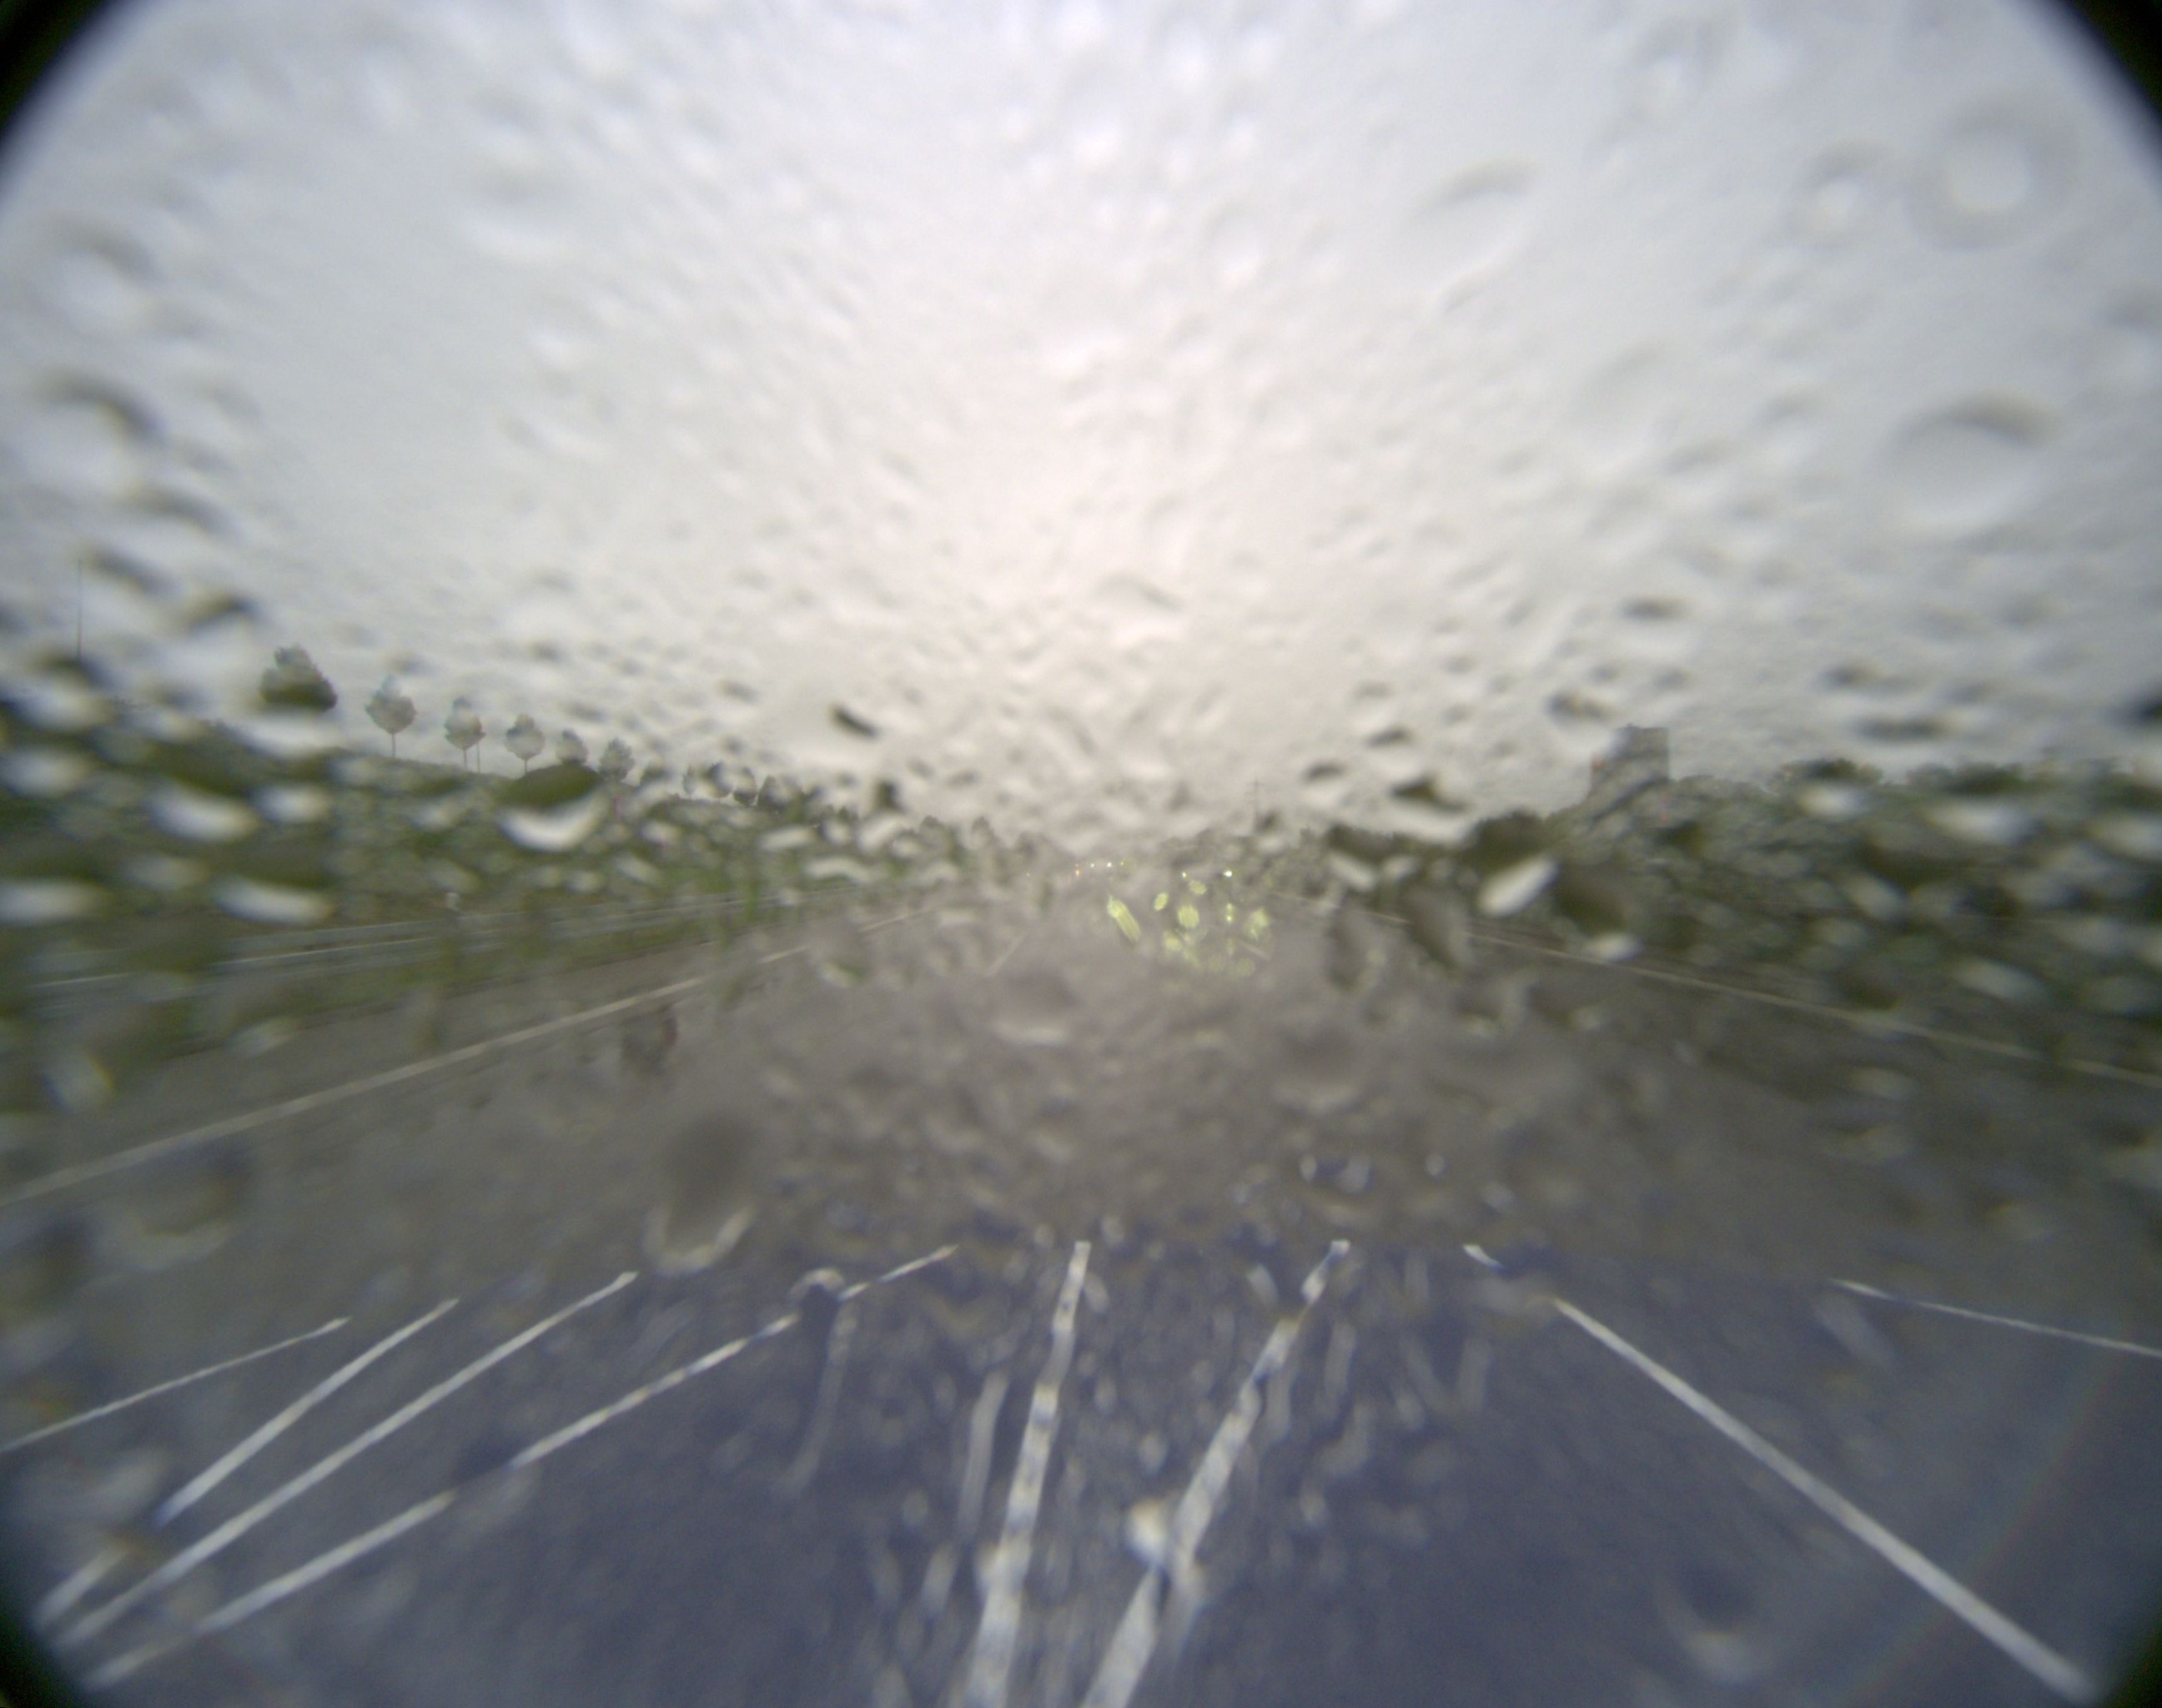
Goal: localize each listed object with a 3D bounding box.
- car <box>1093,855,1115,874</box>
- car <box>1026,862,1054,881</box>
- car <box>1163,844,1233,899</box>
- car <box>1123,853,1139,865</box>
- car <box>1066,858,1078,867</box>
[{"bbox_3d":[1.907,0.855,64.054,1.753,1.406,4.000,-4,0,1],"label":"car"},{"bbox_3d":[-3.103,1.329,58.326,1.753,1.205,4.000,-4,0,1],"label":"car"},{"bbox_3d":[4.176,0.561,27.791,2.046,1.763,4.501,-2,1,3],"label":"car"},{"bbox_3d":[6.500,0.621,98.997,1.753,1.369,4.000,-4,0,1],"label":"car"},{"bbox_3d":[-1.381,1.268,119.228,1.753,1.205,4.000,-4,0,1],"label":"car"}]
